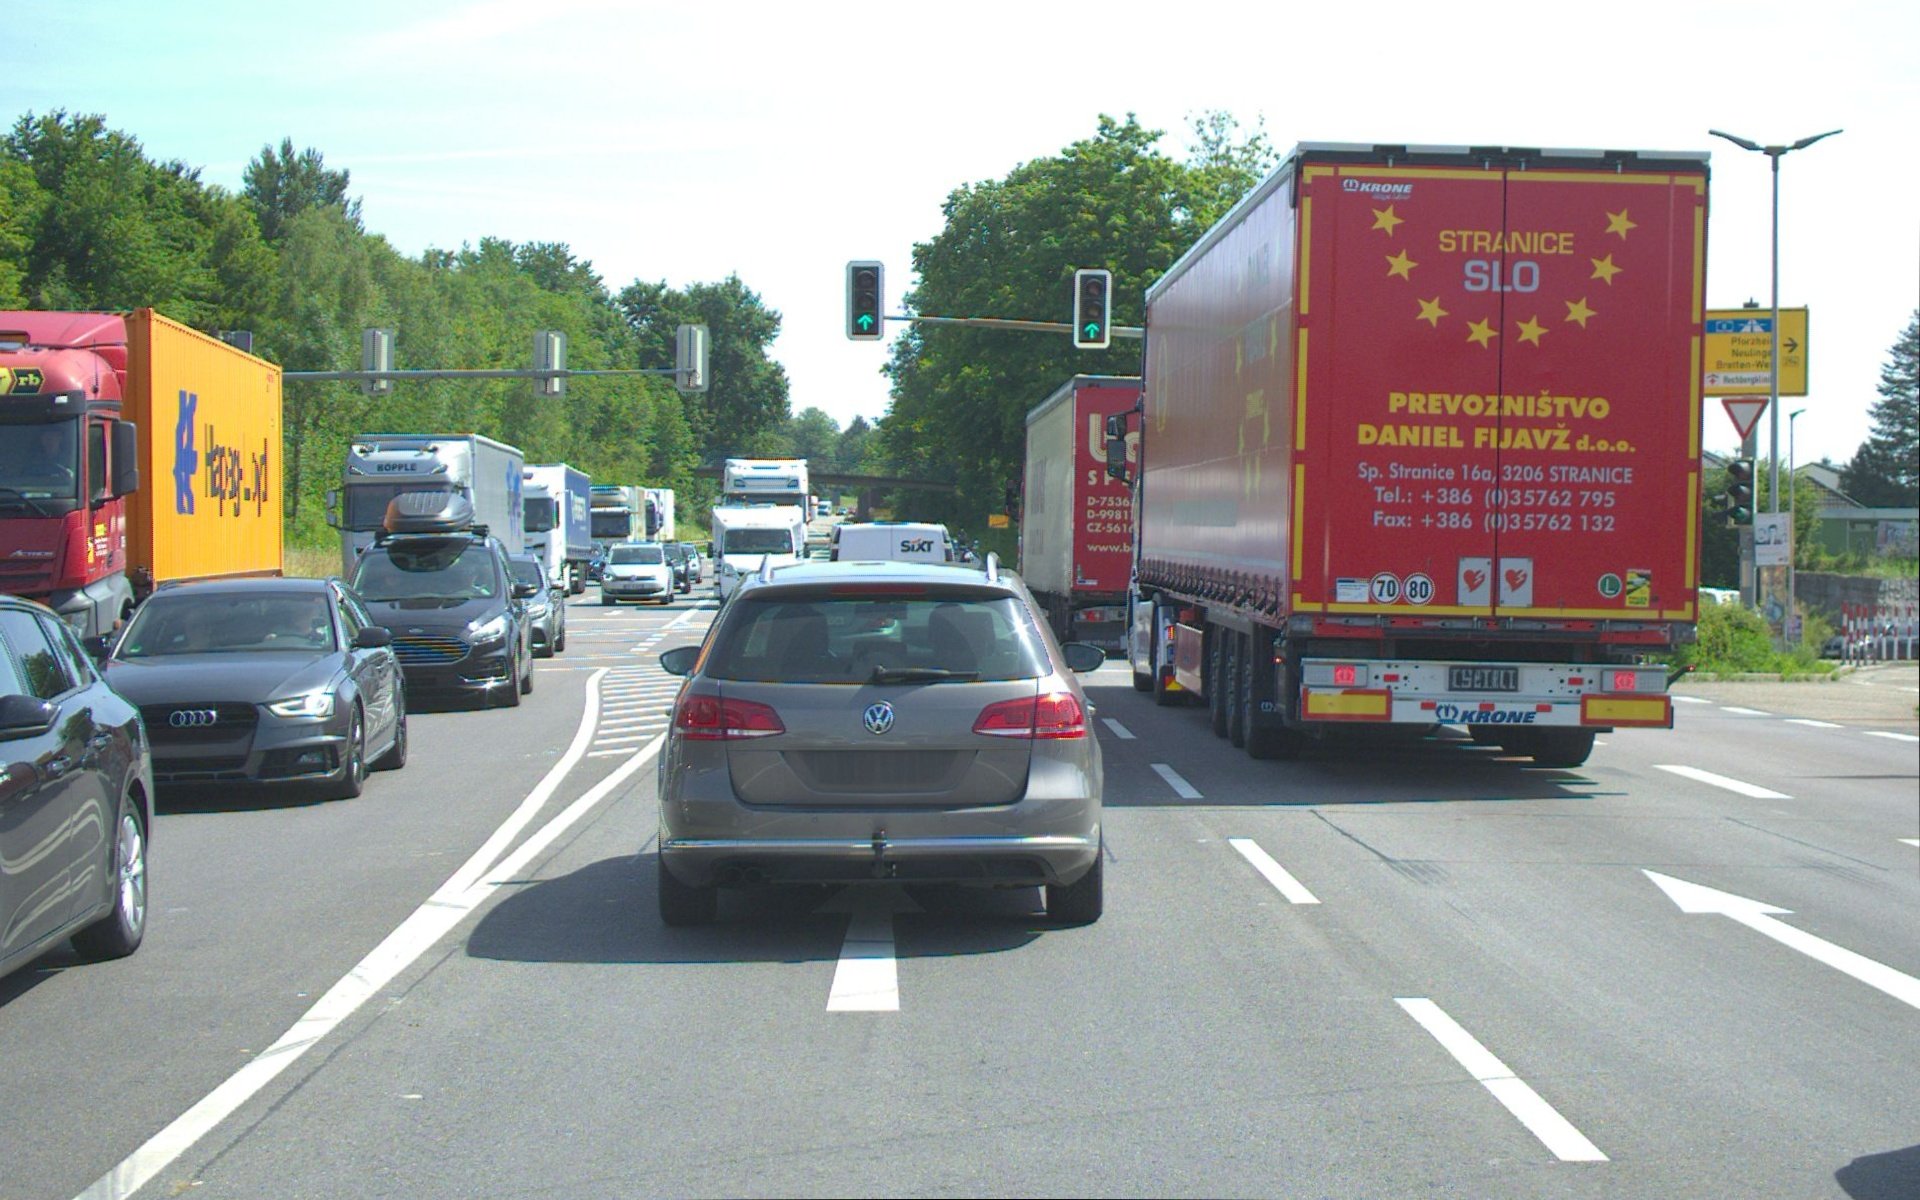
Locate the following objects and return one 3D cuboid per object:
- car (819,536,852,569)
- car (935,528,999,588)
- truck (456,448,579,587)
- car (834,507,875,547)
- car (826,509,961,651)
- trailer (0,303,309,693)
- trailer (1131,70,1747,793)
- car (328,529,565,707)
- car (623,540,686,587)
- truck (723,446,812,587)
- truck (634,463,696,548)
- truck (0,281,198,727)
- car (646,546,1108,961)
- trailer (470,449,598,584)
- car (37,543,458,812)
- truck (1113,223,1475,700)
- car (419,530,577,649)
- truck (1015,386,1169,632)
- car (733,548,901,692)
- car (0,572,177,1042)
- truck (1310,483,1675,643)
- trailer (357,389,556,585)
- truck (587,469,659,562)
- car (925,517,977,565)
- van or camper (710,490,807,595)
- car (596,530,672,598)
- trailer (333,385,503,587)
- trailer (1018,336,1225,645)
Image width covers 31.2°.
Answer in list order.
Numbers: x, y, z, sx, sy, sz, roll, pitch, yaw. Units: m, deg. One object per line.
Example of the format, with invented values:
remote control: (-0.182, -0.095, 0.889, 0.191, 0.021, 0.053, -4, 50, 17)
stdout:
car: (-7.569, -2.890, 208.739, 1.993, 2.007, 4.001, 0, 1, -3)
car: (0.216, -1.449, 118.300, 1.993, 2.007, 4.001, 0, 1, -3)
truck: (-13.290, -2.464, 103.679, 3.187, 4.065, 6.347, 0, 1, -3)
car: (-5.341, -3.675, 173.883, 1.993, 2.007, 4.001, 0, 1, -3)
car: (-0.989, -0.310, 48.885, 1.770, 1.930, 3.978, 0, 1, -3)
trailer: (-9.878, -1.146, 41.290, 2.720, 3.984, 12.237, 0, 1, -5)
trailer: (3.265, -1.142, 27.689, 2.839, 4.350, 13.168, 2, 1, -1)
car: (-5.110, 0.126, 34.775, 1.908, 1.596, 4.589, -2, 2, -3)
car: (-9.857, -1.187, 110.939, 1.993, 1.480, 4.455, 0, 1, -5)
truck: (-5.764, -2.472, 102.386, 2.536, 4.074, 6.267, 0, 1, -4)
truck: (-14.625, -4.662, 171.097, 2.829, 4.102, 9.684, 0, 1, -3)
truck: (-9.297, -0.906, 33.730, 2.720, 3.984, 6.058, 0, 1, -5)
car: (-0.411, 0.531, 14.634, 1.691, 1.508, 4.001, 0, 1, -3)
trailer: (-13.602, -2.631, 110.795, 3.093, 4.065, 14.129, 0, 1, -3)
car: (-4.583, 0.426, 22.811, 1.861, 1.519, 4.589, -1, 2, -1)
truck: (3.181, -1.310, 34.319, 2.870, 4.266, 5.839, 2, 1, 0)
car: (-6.757, -0.198, 50.698, 1.921, 1.596, 4.589, -1, 2, -3)
truck: (2.262, -1.570, 60.408, 2.406, 4.113, 5.521, 0, 1, -1)
car: (-1.623, 0.183, 38.455, 1.770, 1.508, 4.001, 0, 1, -3)
car: (-3.908, 0.671, 11.534, 1.711, 1.438, 4.379, -2, 1, -3)
truck: (14.928, -1.003, 96.248, 9.667, 3.616, 2.768, 5, -1, -19)
trailer: (-11.454, -2.515, 79.604, 2.691, 4.133, 13.880, 0, 1, -1)
truck: (-14.878, -3.704, 152.433, 2.728, 3.985, 9.621, 0, 1, -3)
car: (-0.388, -2.471, 143.889, 1.993, 2.007, 4.001, 0, 1, -3)
van or camper: (-5.155, -1.485, 88.826, 2.330, 2.591, 6.979, 0, 1, -2)
car: (-8.885, -0.999, 93.927, 1.843, 1.726, 4.589, 2, 1, -3)
trailer: (-11.394, -2.365, 72.722, 2.645, 4.091, 6.181, 0, 1, 0)
trailer: (2.327, -1.608, 53.683, 2.395, 4.229, 13.079, 0, 1, -1)
